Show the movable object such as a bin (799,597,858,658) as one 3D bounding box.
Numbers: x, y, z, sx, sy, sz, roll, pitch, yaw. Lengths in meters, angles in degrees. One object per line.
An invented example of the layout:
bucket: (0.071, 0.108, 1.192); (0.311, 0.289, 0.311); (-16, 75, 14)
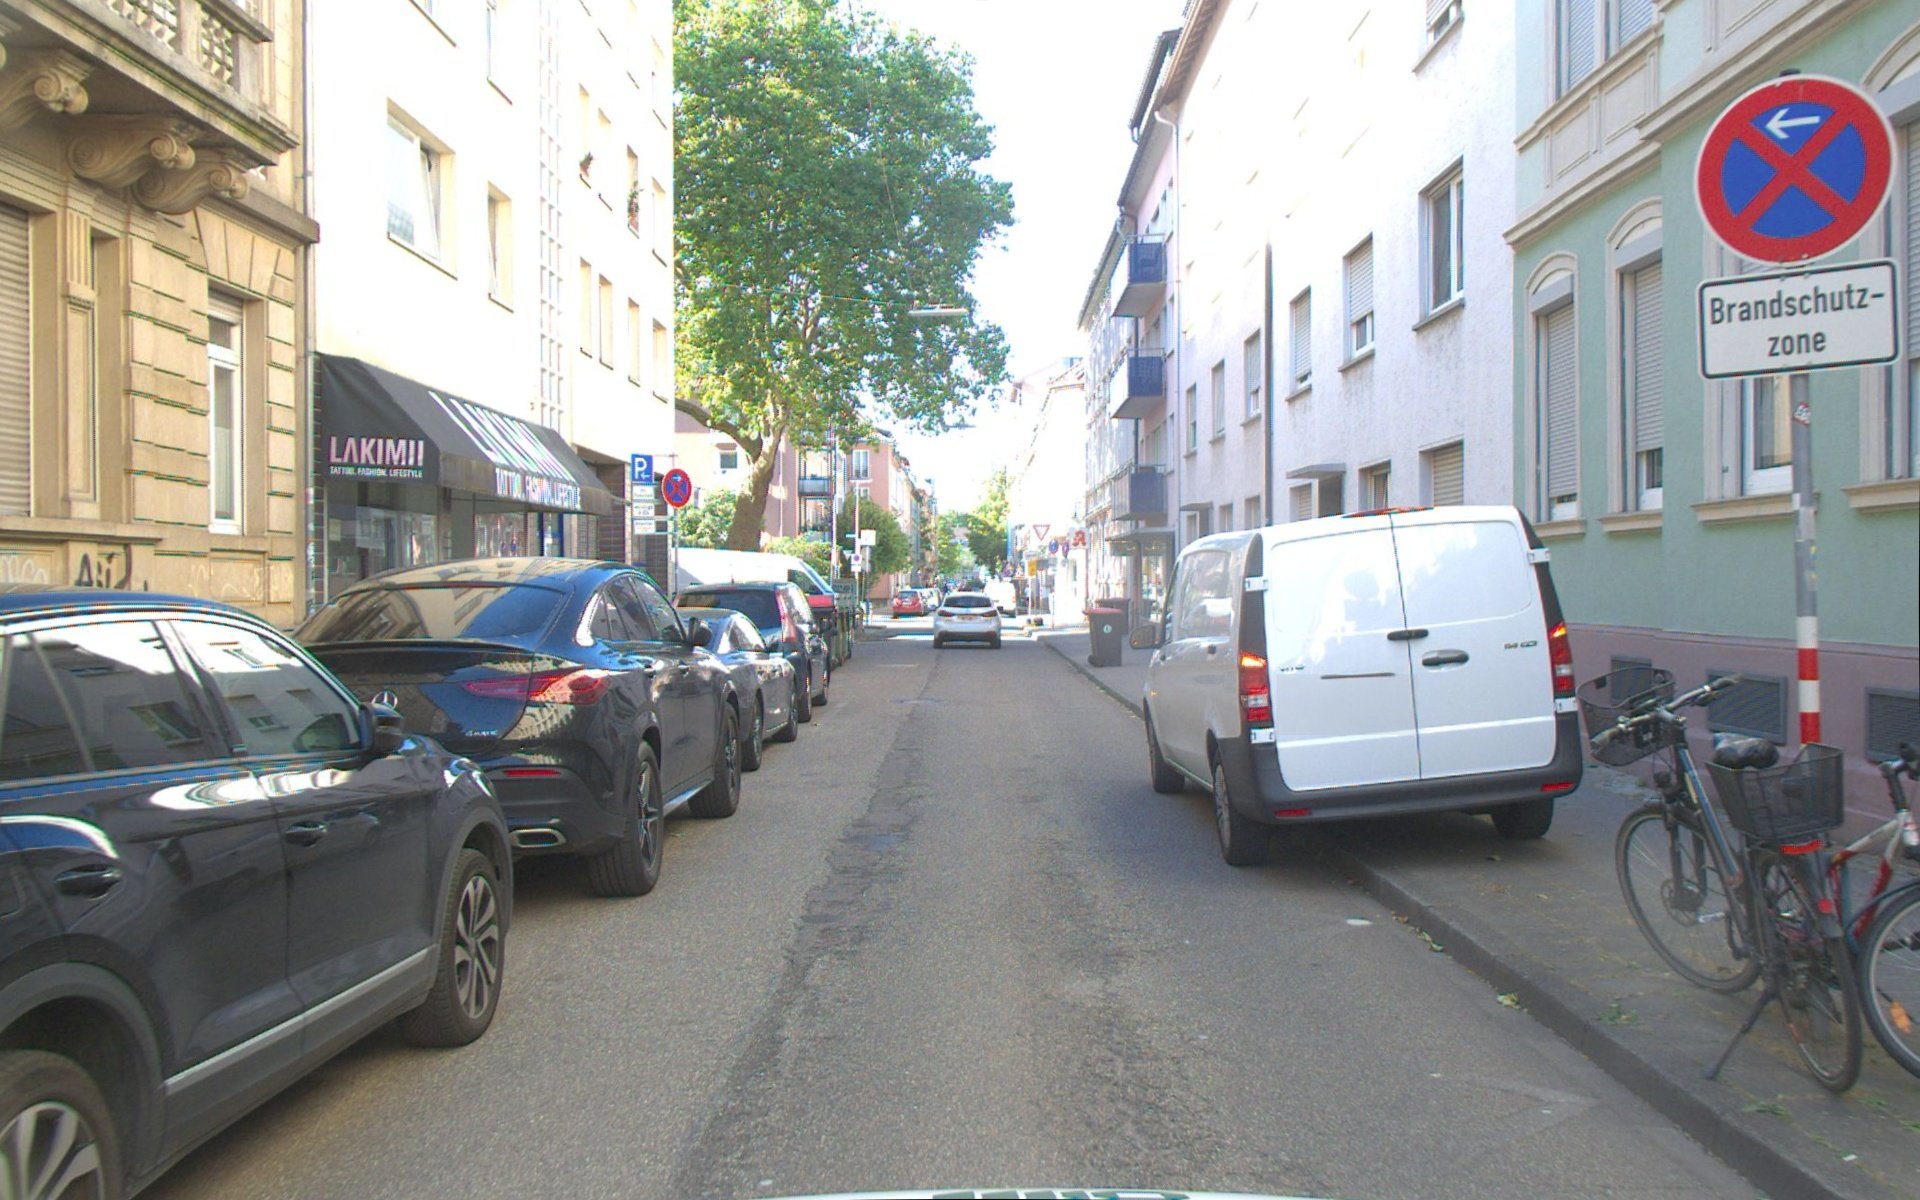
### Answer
movable object such as a bin: (-2.918, 0.602, 36.720); (1.215, 1.345, 1.046); (0, 0, 0)

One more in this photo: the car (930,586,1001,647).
car: (0.135, 0.405, 44.333); (1.786, 1.540, 3.823); (-1, 0, 0)

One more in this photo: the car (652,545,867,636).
car: (-6.483, -0.295, 53.980); (6.599, 2.599, 2.146); (3, 0, 2)

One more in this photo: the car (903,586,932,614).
car: (-2.604, 0.009, 101.837); (1.602, 1.685, 3.785); (0, 0, 1)

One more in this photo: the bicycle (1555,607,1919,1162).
bicycle: (2.502, 0.719, 5.228); (0.563, 1.344, 2.200); (-1, 1, 4)

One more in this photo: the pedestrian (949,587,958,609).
pedestrian: (-0.540, -0.140, 136.886); (0.634, 1.828, 0.639); (-1, -1, 1)

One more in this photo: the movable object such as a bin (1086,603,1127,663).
movable object such as a bin: (2.759, 0.614, 31.139); (0.717, 1.099, 0.703); (-1, 0, 1)

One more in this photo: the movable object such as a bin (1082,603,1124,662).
movable object such as a bin: (2.757, 0.624, 31.852); (0.752, 1.105, 0.693); (-1, 0, 1)

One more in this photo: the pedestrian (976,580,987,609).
pedestrian: (1.618, -0.404, 123.914); (0.755, 2.155, 0.835); (-1, -1, 1)

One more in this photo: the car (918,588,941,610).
car: (-2.241, -0.091, 122.945); (1.540, 1.613, 3.611); (-1, 0, 1)

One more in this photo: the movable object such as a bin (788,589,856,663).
movable object such as a bin: (-2.869, 0.533, 34.561); (1.315, 1.525, 1.018); (0, 0, 0)

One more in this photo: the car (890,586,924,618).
car: (-2.866, 0.095, 90.725); (1.733, 1.616, 3.726); (-1, 1, 0)

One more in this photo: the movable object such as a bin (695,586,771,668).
movable object such as a bin: (-4.281, 0.501, 31.317); (1.270, 1.524, 1.178); (0, 0, 0)

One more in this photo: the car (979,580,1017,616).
car: (2.125, -0.124, 93.918); (1.903, 1.982, 4.077); (1, 0, -2)

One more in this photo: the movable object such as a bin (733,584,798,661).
movable object such as a bin: (-4.184, 0.472, 35.619); (1.262, 1.632, 1.082); (0, 0, 0)

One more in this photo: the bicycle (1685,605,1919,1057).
bicycle: (3.145, 0.687, 5.547); (0.563, 1.293, 2.200); (-2, 0, 4)

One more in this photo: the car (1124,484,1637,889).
car: (2.413, 0.410, 11.191); (1.943, 1.916, 5.599); (-4, 1, 0)

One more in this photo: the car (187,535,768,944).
car: (-2.432, 0.600, 9.885); (1.896, 1.766, 5.142); (-1, 0, 0)

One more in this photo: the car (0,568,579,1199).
car: (-2.434, 0.735, 4.366); (1.678, 1.558, 4.368); (-1, 0, 2)

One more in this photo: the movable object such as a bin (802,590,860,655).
movable object such as a bin: (-2.940, 0.514, 37.820); (1.274, 1.476, 1.117); (0, 0, -3)

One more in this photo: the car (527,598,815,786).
car: (-2.530, 0.749, 15.684); (1.807, 1.441, 4.818); (-2, 0, 0)

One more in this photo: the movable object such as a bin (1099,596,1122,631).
movable object such as a bin: (4.667, 0.421, 51.312); (0.687, 1.092, 0.596); (-1, 0, 2)

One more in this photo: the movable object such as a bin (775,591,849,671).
movable object such as a bin: (-2.894, 0.601, 32.480); (1.306, 1.510, 1.093); (-2, 0, 0)

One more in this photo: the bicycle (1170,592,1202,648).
bicycle: (4.849, 0.424, 35.554); (0.444, 1.154, 1.920); (-3, 0, 2)

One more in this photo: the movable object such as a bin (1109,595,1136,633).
movable object such as a bin: (4.856, 0.423, 49.366); (0.715, 1.123, 0.693); (-1, 0, -2)

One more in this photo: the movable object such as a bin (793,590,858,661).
movable object such as a bin: (-2.880, 0.544, 35.629); (1.307, 1.517, 1.082); (0, 0, 0)

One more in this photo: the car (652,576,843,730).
car: (-2.574, 0.581, 21.066); (1.746, 1.696, 4.670); (-2, 0, 0)

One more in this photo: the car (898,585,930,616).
car: (-2.640, 0.021, 96.323); (1.685, 1.712, 3.726); (-1, 0, 1)

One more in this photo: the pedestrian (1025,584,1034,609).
pedestrian: (5.027, -0.245, 118.837); (0.605, 1.764, 0.560); (-1, -1, -1)

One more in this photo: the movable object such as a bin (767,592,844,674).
movable object such as a bin: (-2.906, 0.621, 31.306); (1.292, 1.476, 1.187); (-2, 0, 0)

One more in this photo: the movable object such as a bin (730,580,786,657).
movable object such as a bin: (-4.494, 0.402, 36.889); (1.203, 1.682, 1.172); (0, 0, -6)

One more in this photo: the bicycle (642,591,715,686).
bicycle: (-4.239, 0.584, 25.001); (0.455, 1.354, 1.855); (3, -1, 8)

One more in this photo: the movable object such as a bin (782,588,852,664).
movable object such as a bin: (-2.895, 0.526, 33.525); (1.321, 1.513, 1.003); (0, 0, 0)
